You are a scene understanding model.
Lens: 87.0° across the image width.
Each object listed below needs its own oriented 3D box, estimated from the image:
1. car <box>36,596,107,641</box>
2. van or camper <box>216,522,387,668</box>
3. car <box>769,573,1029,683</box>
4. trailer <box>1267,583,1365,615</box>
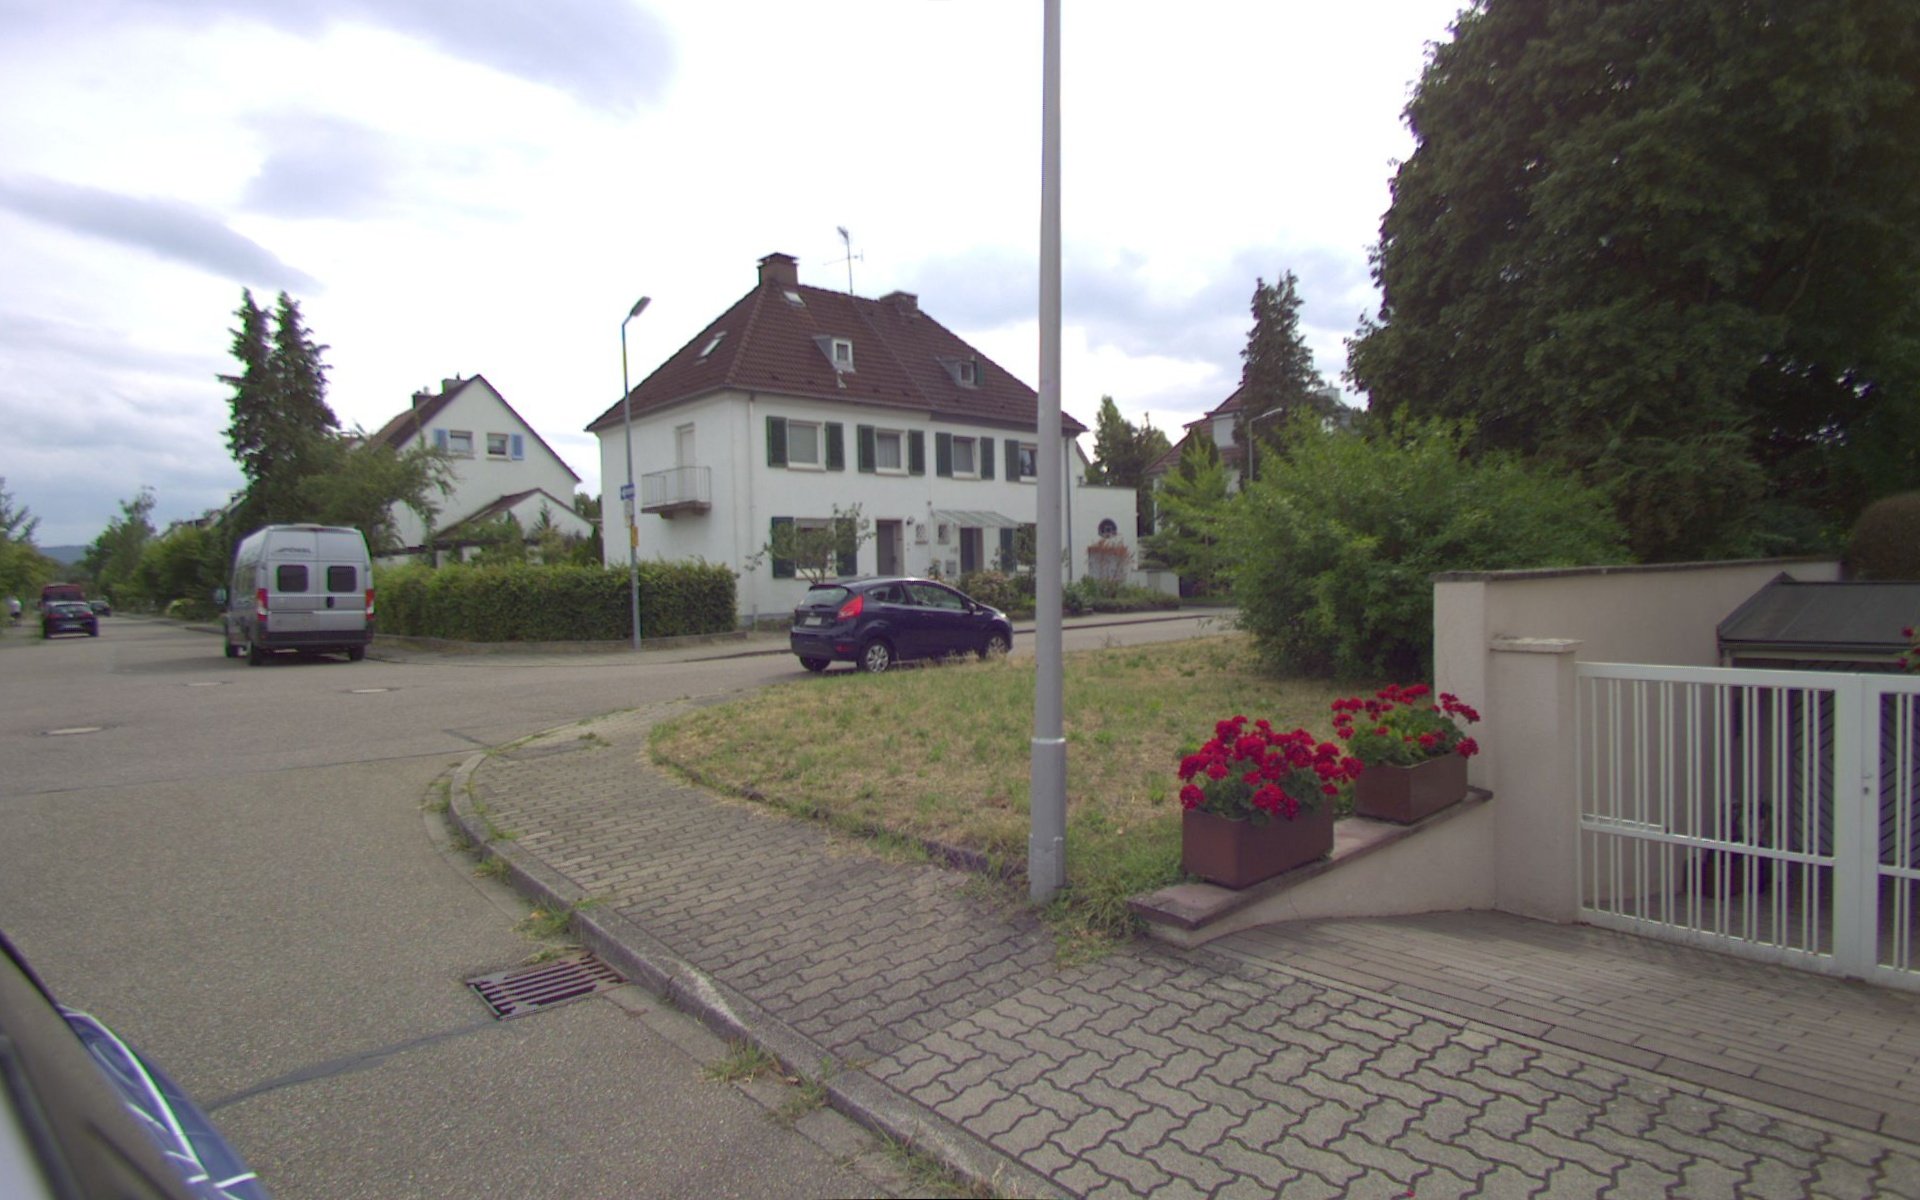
[{"bbox_3d":[-36.704,0.730,41.877,1.968,1.718,4.008,-3,2,-39],"label":"car"},{"bbox_3d":[-14.430,-0.089,21.996,2.312,2.755,5.755,0,0,-41],"label":"van or camper"},{"bbox_3d":[-0.872,0.353,15.912,3.826,1.452,1.724,-3,2,-43],"label":"car"},{"bbox_3d":[11.949,-0.047,33.949,2.712,0.971,2.003,-3,2,-40],"label":"trailer"}]
